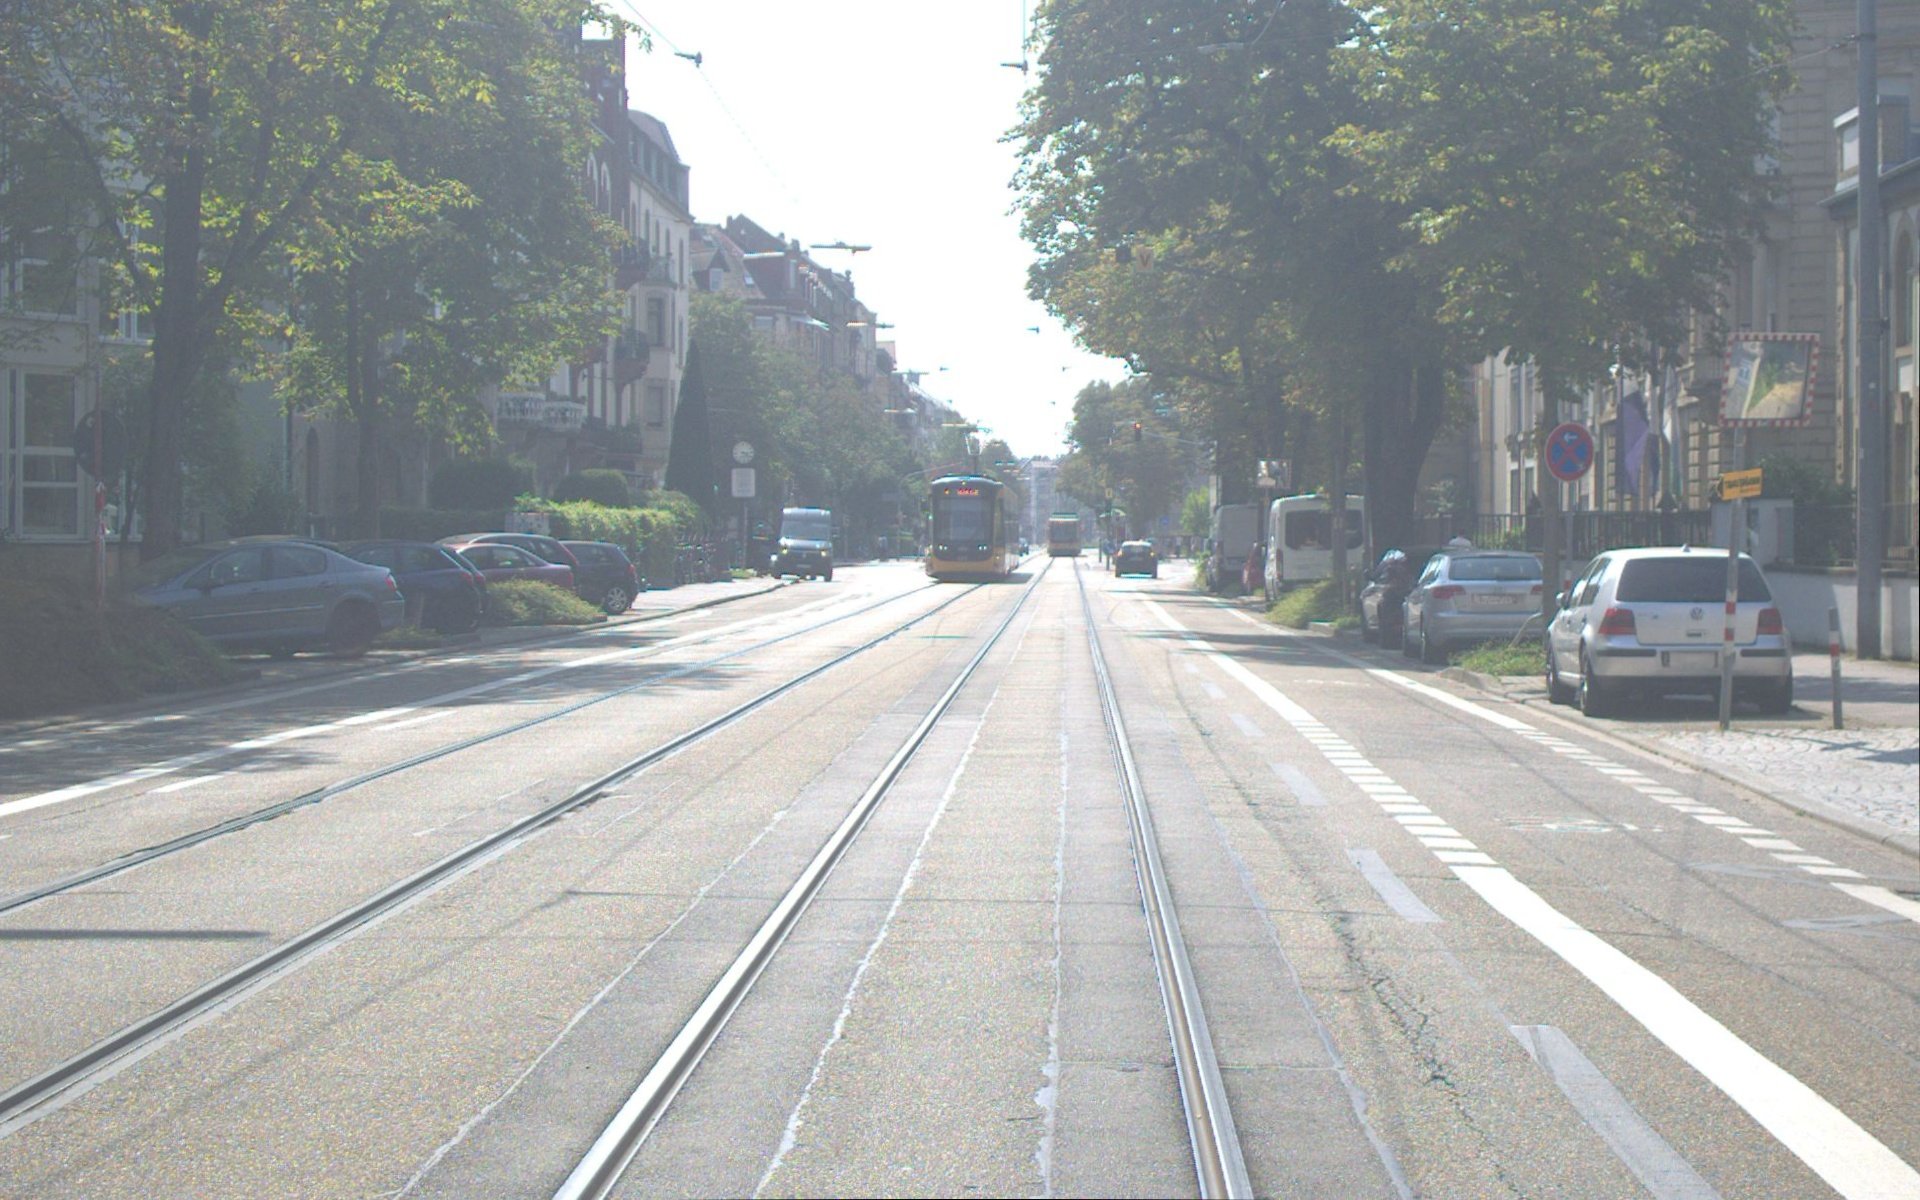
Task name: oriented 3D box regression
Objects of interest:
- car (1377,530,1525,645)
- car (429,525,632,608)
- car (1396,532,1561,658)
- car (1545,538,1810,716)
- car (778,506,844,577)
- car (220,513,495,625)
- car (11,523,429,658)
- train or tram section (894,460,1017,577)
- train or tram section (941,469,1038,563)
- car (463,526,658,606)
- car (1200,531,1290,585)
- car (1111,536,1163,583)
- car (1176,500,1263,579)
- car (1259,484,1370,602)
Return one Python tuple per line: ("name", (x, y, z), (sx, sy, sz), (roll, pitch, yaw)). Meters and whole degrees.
("car", (7.038, -0.208, 49.572), (1.794, 1.571, 4.000), (0, 1, 4))
("car", (-8.365, -0.649, 67.033), (3.576, 1.569, 1.676), (0, 1, -39))
("car", (6.533, -0.084, 43.603), (1.641, 1.506, 3.641), (1, 1, 2))
("car", (6.215, 0.191, 30.127), (1.791, 1.441, 3.732), (-1, 1, 4))
("car", (-5.245, -2.079, 121.731), (2.242, 2.433, 4.000), (1, 1, -1))
("car", (-8.787, -0.449, 50.245), (3.576, 1.569, 1.676), (0, 1, -39))
("car", (-8.739, -0.153, 40.909), (4.676, 1.447, 1.676), (-2, 3, -44))
("train or tram section", (-0.035, -2.775, 116.473), (3.497, 3.691, 12.412), (1, 2, 3))
("train or tram section", (1.301, -3.500, 143.141), (3.497, 3.691, 12.412), (1, 2, 3))
("car", (-8.119, -0.686, 69.973), (3.576, 1.569, 1.676), (0, 1, -39))
("car", (7.544, -1.138, 91.320), (1.993, 1.393, 4.000), (0, 1, -1))
("car", (7.105, -1.633, 138.161), (1.994, 1.795, 4.000), (1, 1, 2))
("car", (7.428, -1.742, 98.680), (1.993, 2.226, 4.001), (0, 1, -3))
("car", (7.321, -1.179, 71.281), (1.994, 2.357, 4.000), (1, 1, 2))
